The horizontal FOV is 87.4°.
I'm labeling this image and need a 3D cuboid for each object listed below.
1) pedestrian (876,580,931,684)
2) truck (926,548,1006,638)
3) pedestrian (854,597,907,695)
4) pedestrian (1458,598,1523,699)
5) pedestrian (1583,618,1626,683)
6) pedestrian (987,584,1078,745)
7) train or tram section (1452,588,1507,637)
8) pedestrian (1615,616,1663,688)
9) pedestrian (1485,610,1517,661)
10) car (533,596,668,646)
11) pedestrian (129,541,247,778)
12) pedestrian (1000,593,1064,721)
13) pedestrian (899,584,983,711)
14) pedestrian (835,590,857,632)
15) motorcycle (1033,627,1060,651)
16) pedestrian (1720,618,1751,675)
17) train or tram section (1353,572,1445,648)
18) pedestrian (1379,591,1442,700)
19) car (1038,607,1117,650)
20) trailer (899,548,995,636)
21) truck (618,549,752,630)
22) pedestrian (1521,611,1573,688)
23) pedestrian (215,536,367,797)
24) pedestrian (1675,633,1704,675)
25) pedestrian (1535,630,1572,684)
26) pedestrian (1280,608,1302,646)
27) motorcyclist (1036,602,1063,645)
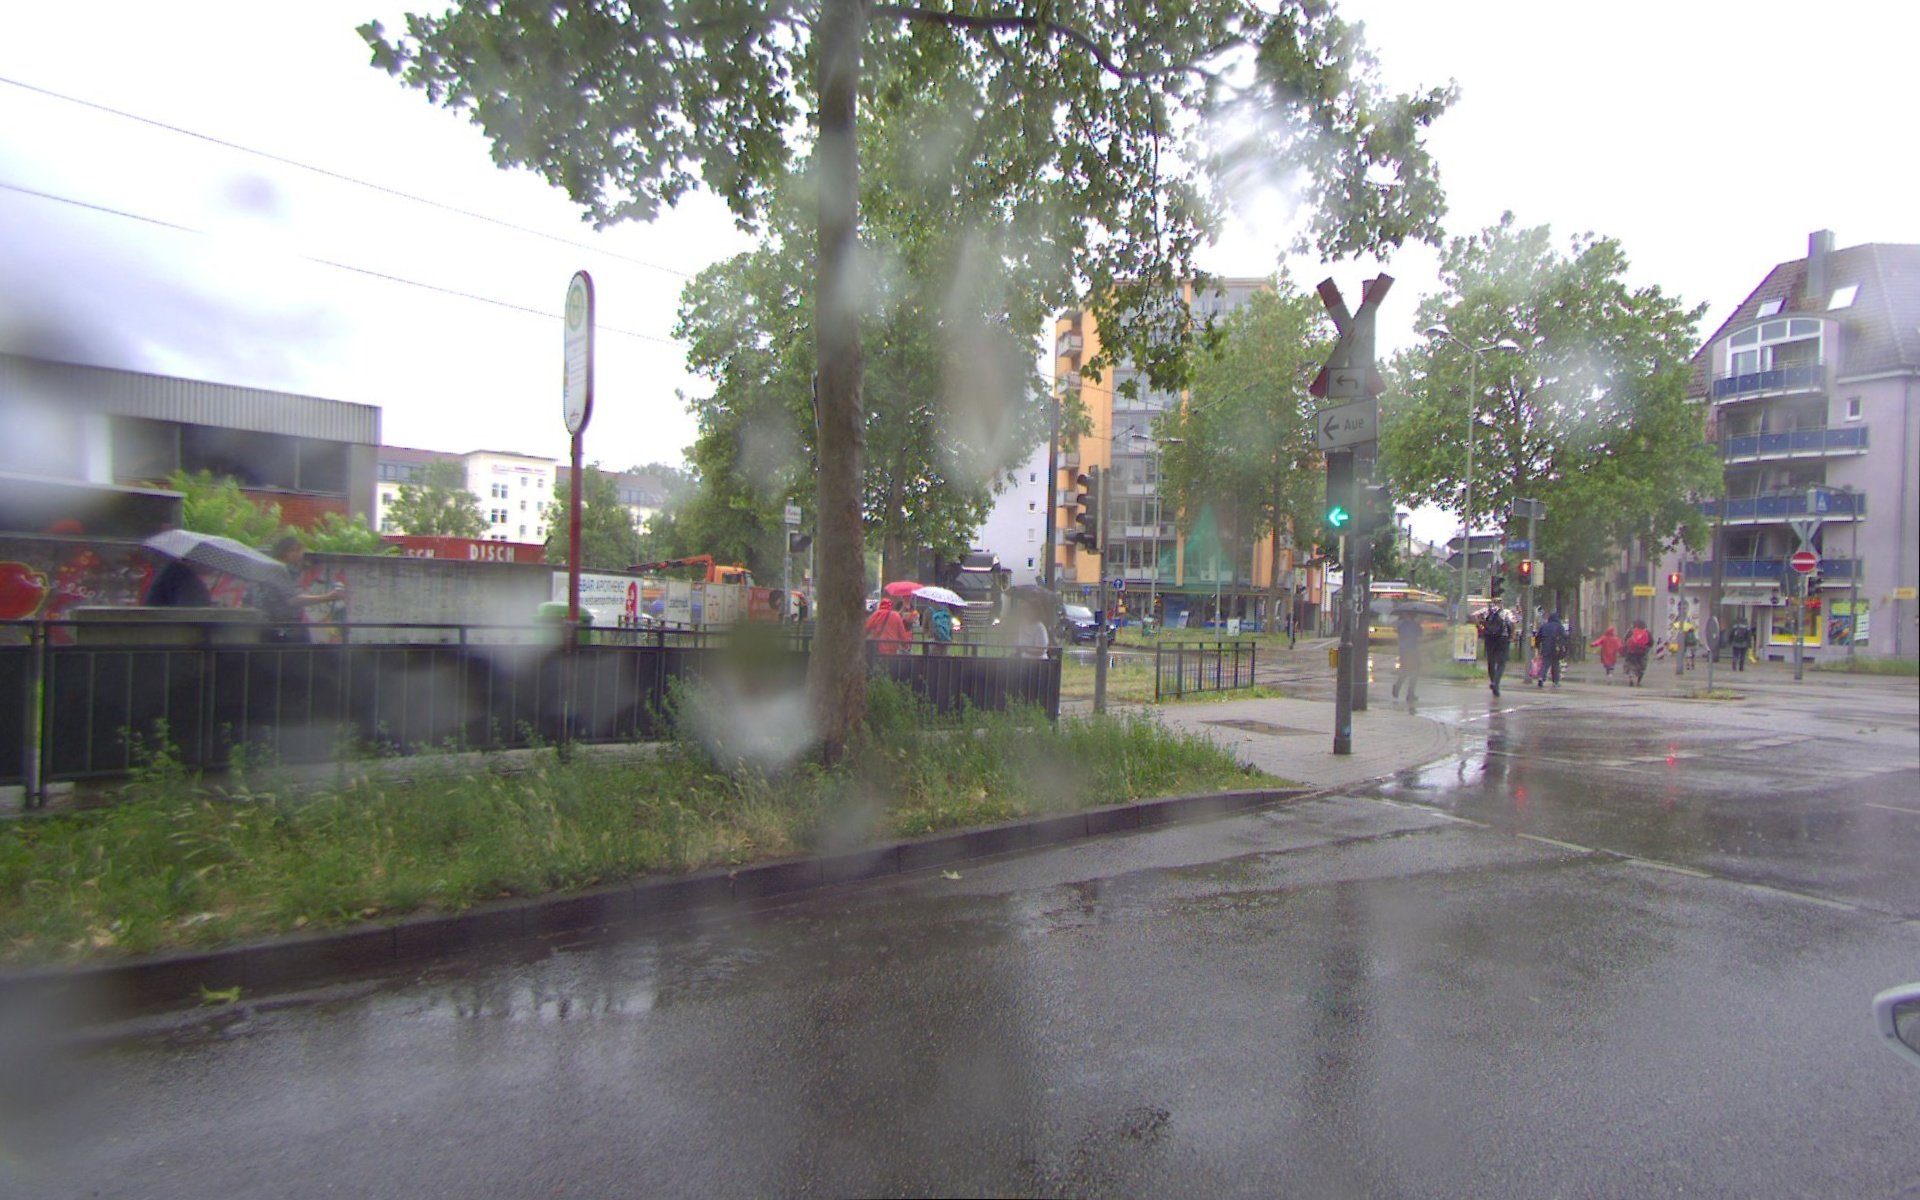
[{"bbox_3d":[-1.062,0.589,18.815,0.768,1.891,0.936,2,0,-18],"label":"pedestrian"},{"bbox_3d":[0.218,-0.280,46.035,2.593,3.842,4.444,2,0,-13],"label":"truck"},{"bbox_3d":[-1.323,0.753,16.800,0.782,1.593,0.659,-1,0,2],"label":"pedestrian"},{"bbox_3d":[9.761,0.863,18.469,0.855,1.778,0.826,2,0,41],"label":"pedestrian"},{"bbox_3d":[15.671,1.213,24.433,0.653,1.540,0.676,1,0,-38],"label":"pedestrian"},{"bbox_3d":[0.825,0.706,11.430,0.675,1.752,0.752,2,0,42],"label":"pedestrian"},{"bbox_3d":[43.199,1.084,83.194,2.819,3.592,15.338,2,0,32],"label":"train or tram section"},{"bbox_3d":[16.152,1.220,23.893,0.809,1.646,0.724,0,0,-37],"label":"pedestrian"},{"bbox_3d":[19.685,1.266,36.512,0.943,1.789,0.951,2,0,31],"label":"pedestrian"},{"bbox_3d":[-10.483,0.601,29.376,3.447,1.323,1.405,2,0,10],"label":"car"},{"bbox_3d":[-5.005,0.365,6.509,0.603,1.446,0.492,2,0,44],"label":"pedestrian"},{"bbox_3d":[1.004,0.774,13.888,0.782,1.705,0.660,-1,0,8],"label":"pedestrian"},{"bbox_3d":[-0.271,0.703,15.229,0.966,1.851,1.077,-1,0,15],"label":"pedestrian"},{"bbox_3d":[-5.218,0.492,46.035,0.765,1.891,0.940,2,0,4],"label":"pedestrian"},{"bbox_3d":[3.314,1.504,38.541,0.436,0.853,1.541,2,0,-20],"label":"motorcycle"},{"bbox_3d":[26.275,1.563,34.037,0.777,1.880,0.679,2,0,37],"label":"pedestrian"},{"bbox_3d":[25.931,0.682,58.677,2.839,3.818,17.211,2,0,30],"label":"train or tram section"},{"bbox_3d":[8.087,0.793,18.066,0.854,1.889,0.892,2,0,16],"label":"pedestrian"},{"bbox_3d":[4.654,1.105,40.421,1.585,1.551,4.017,1,1,-19],"label":"car"},{"bbox_3d":[-0.875,-0.348,50.726,2.593,3.899,10.114,2,0,-13],"label":"trailer"},{"bbox_3d":[-11.892,-0.423,43.625,5.383,3.205,2.164,2,0,-16],"label":"truck"},{"bbox_3d":[13.297,1.115,22.772,0.823,1.721,0.689,-1,0,17],"label":"pedestrian"},{"bbox_3d":[-5.080,0.470,7.620,0.837,1.828,0.818,1,0,-41],"label":"pedestrian"},{"bbox_3d":[25.198,1.864,34.702,0.638,1.414,0.782,1,0,26],"label":"pedestrian"},{"bbox_3d":[15.476,1.480,26.199,0.704,1.367,0.650,1,0,-44],"label":"pedestrian"},{"bbox_3d":[16.320,1.325,49.541,0.941,1.789,0.953,2,0,20],"label":"pedestrian"},{"bbox_3d":[3.418,0.900,38.497,0.767,1.635,0.772,2,0,-18],"label":"motorcyclist"}]
